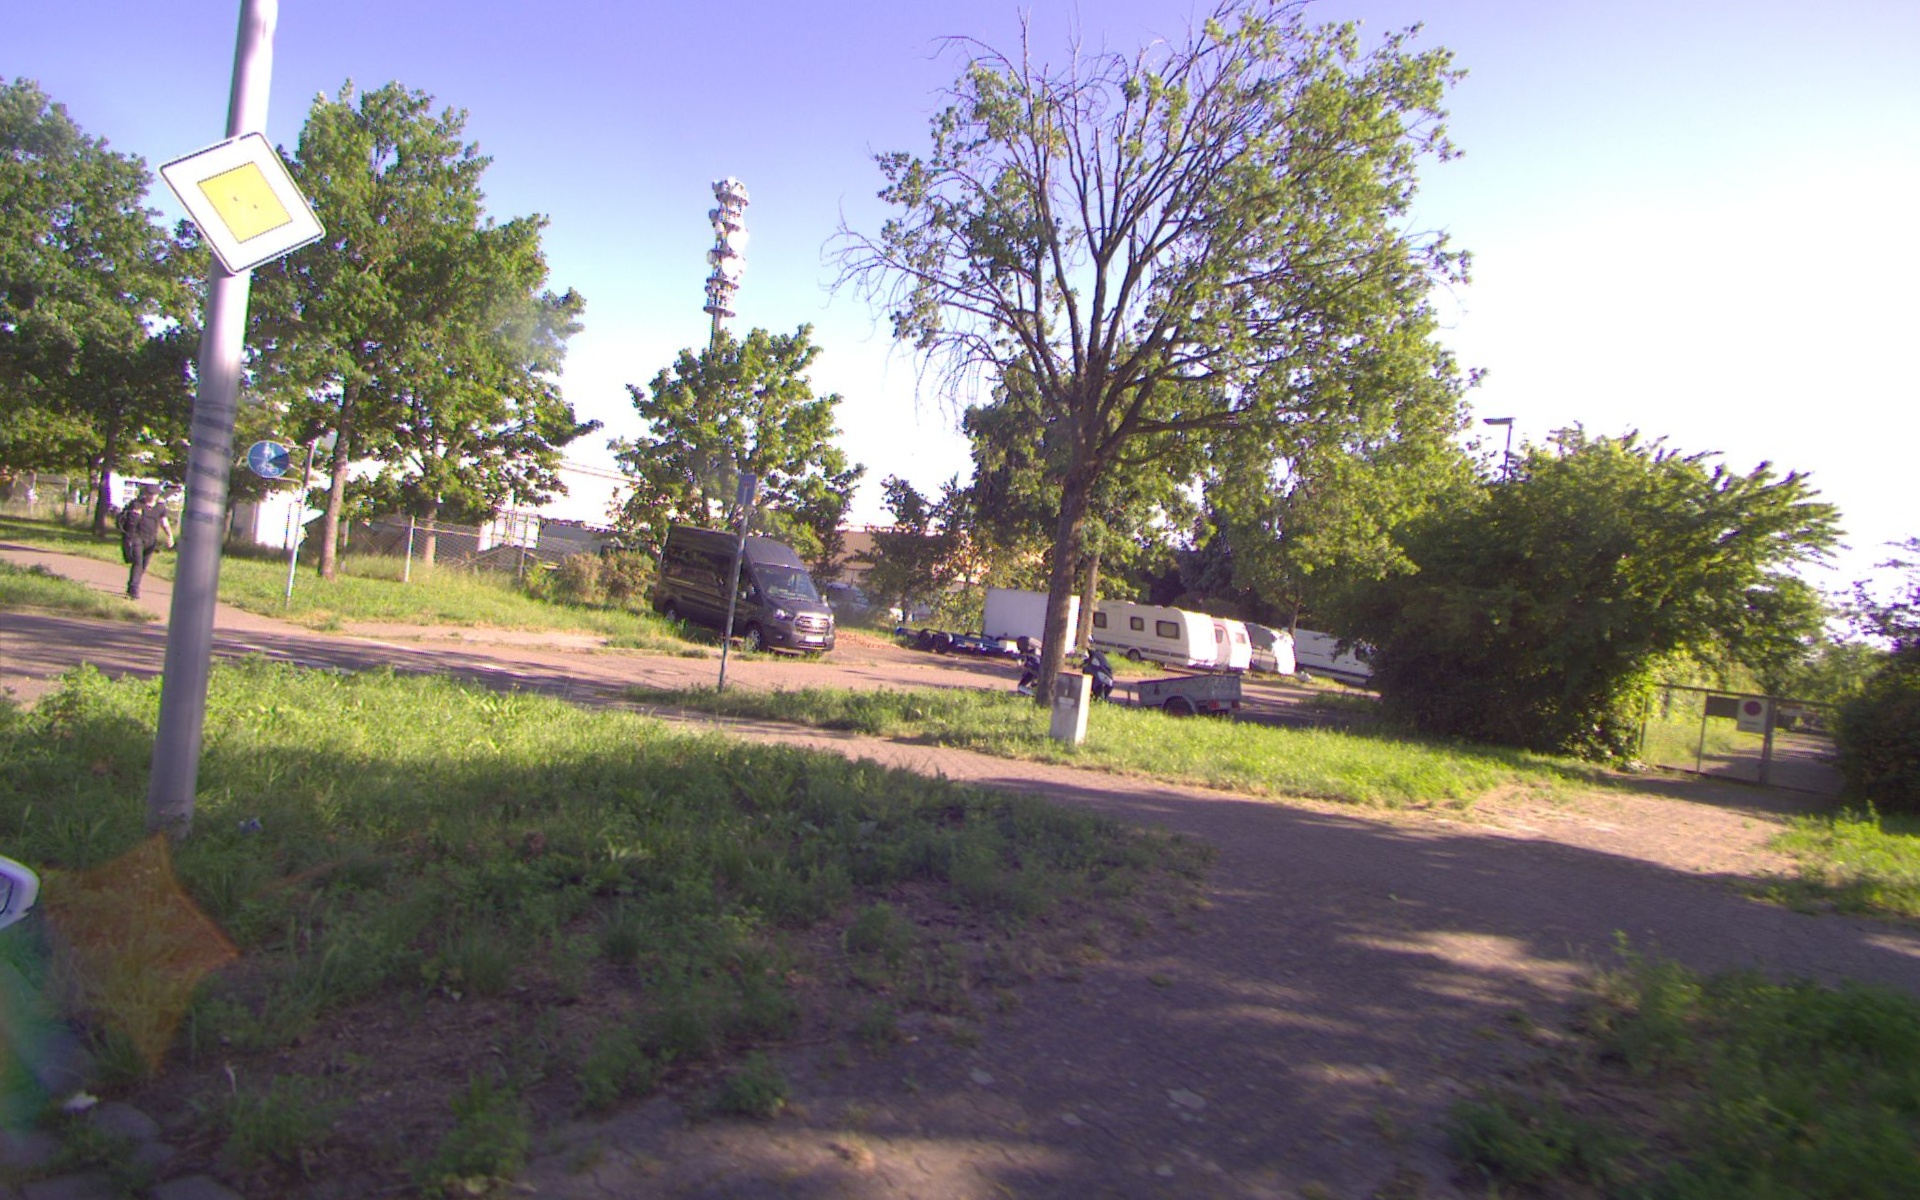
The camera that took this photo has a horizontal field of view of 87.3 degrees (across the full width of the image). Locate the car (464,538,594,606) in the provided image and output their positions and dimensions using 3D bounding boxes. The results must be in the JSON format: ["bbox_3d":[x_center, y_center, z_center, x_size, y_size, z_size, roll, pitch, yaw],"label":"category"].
[{"bbox_3d":[-13.756,-0.898,32.123,3.536,1.685,2.008,7,0,31],"label":"car"}]

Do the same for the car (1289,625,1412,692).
[{"bbox_3d":[21.298,3.171,54.990,5.600,2.944,2.333,6,-2,41],"label":"car"}]

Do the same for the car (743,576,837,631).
[{"bbox_3d":[-6.716,0.109,39.449,1.826,1.660,3.957,7,0,-38],"label":"car"}]

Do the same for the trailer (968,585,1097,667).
[{"bbox_3d":[2.492,0.895,35.111,3.738,2.336,2.184,7,0,43],"label":"trailer"}]

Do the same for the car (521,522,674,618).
[{"bbox_3d":[-12.413,-1.034,34.360,4.769,2.676,2.163,7,1,31],"label":"car"}]

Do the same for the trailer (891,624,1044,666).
[{"bbox_3d":[0.196,1.459,32.891,4.756,0.659,2.222,9,3,43],"label":"trailer"}]

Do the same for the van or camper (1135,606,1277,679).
[{"bbox_3d":[11.314,1.915,46.577,5.839,2.607,2.176,7,0,43],"label":"van or camper"}]

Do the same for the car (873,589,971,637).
[{"bbox_3d":[-1.733,0.574,45.109,3.940,1.612,1.992,7,0,38],"label":"car"}]

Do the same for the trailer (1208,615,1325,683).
[{"bbox_3d":[14.531,2.305,47.809,4.576,2.607,2.179,7,0,39],"label":"trailer"}]

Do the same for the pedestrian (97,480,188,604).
[{"bbox_3d":[-13.130,-0.922,16.159,0.853,1.835,0.726,10,3,30],"label":"pedestrian"}]

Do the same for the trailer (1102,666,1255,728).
[{"bbox_3d":[3.753,1.658,17.302,2.028,0.878,1.576,1,-4,43],"label":"trailer"}]

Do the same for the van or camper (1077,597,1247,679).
[{"bbox_3d":[8.439,1.537,42.587,6.686,2.607,2.176,7,0,43],"label":"van or camper"}]

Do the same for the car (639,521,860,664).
[{"bbox_3d":[-5.398,-0.282,25.150,5.888,2.597,2.082,11,1,43],"label":"car"}]

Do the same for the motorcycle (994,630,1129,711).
[{"bbox_3d":[1.739,1.211,17.587,2.375,1.245,0.661,1,-3,42],"label":"motorcycle"}]

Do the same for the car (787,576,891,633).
[{"bbox_3d":[-5.061,0.192,41.886,3.940,1.846,1.992,7,0,38],"label":"car"}]

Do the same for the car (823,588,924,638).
[{"bbox_3d":[-3.795,0.549,43.749,3.940,1.612,1.992,7,0,38],"label":"car"}]
